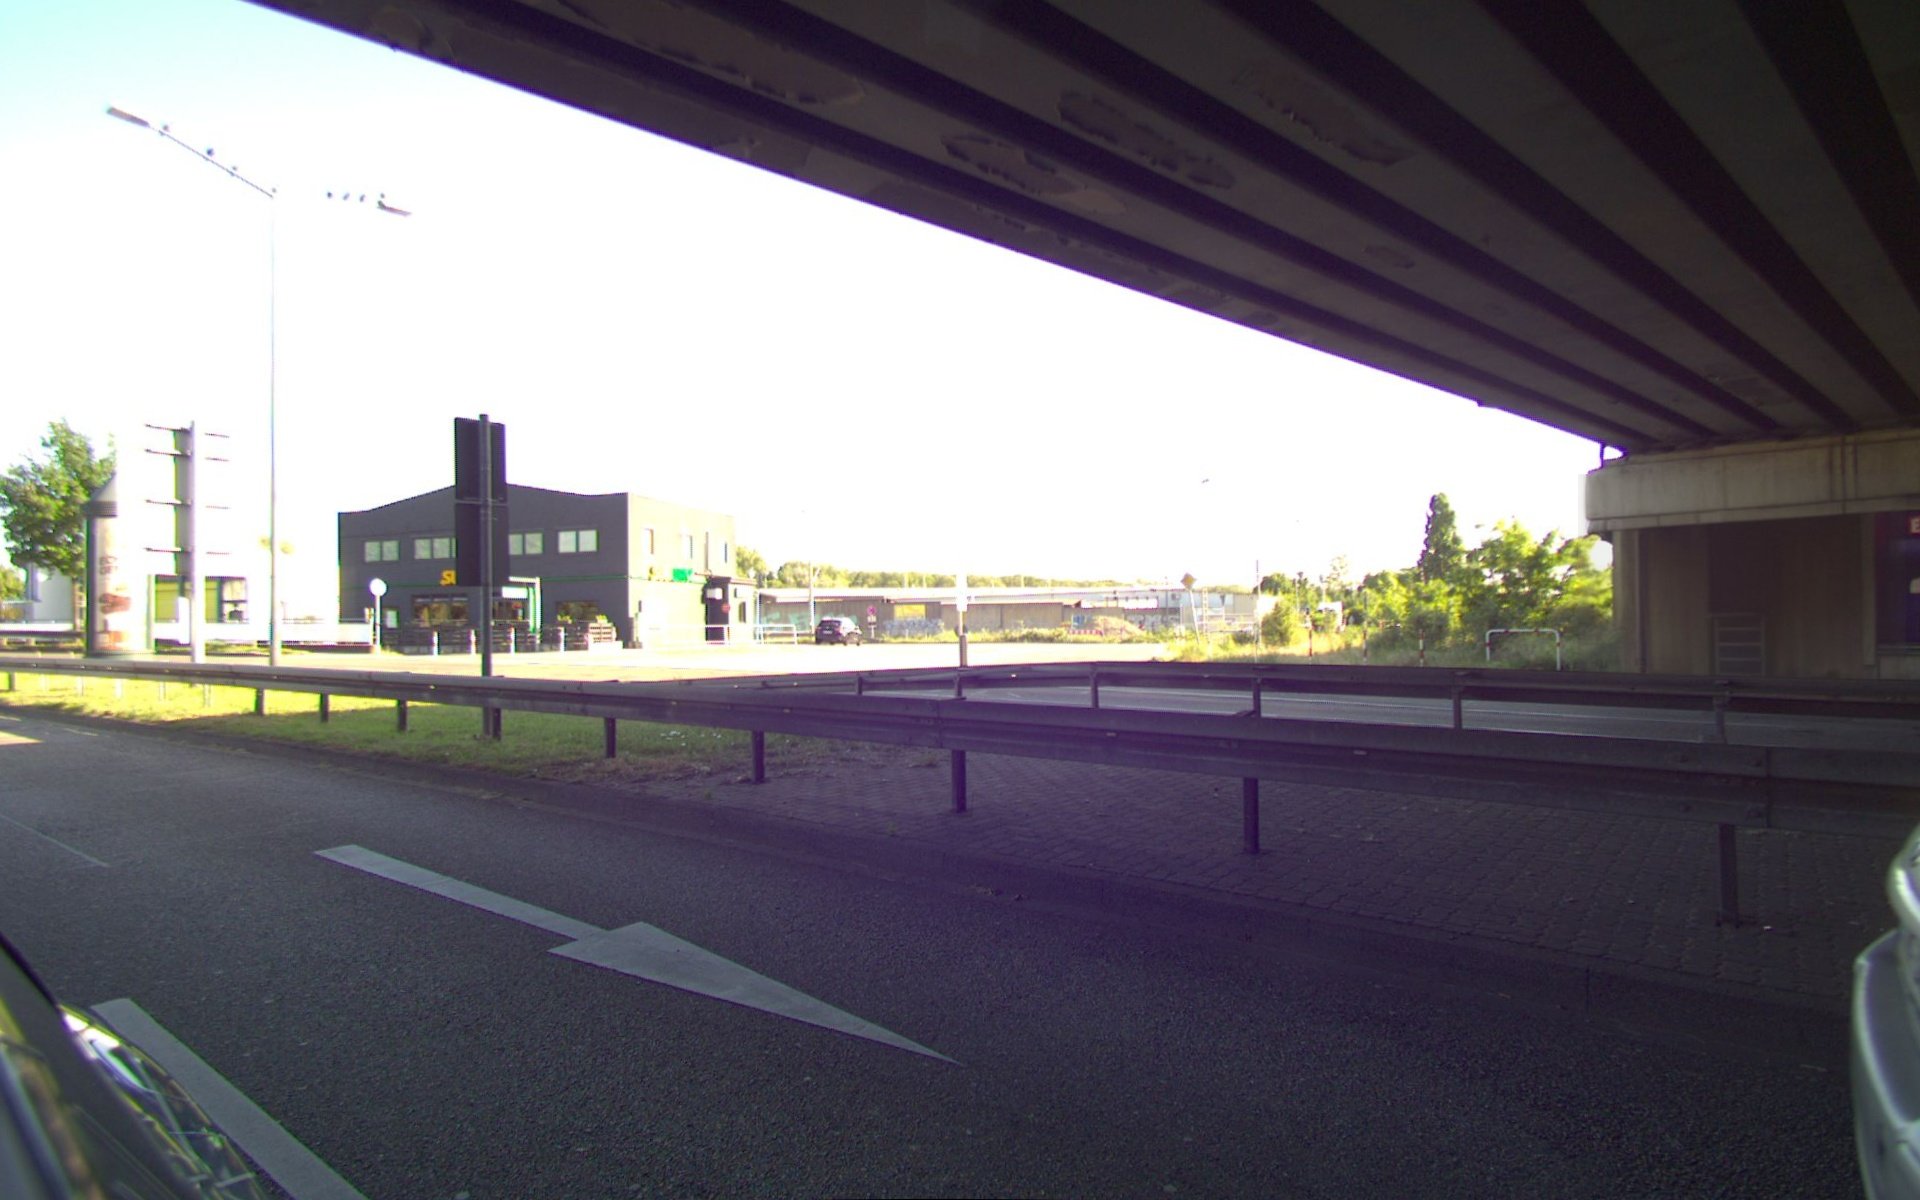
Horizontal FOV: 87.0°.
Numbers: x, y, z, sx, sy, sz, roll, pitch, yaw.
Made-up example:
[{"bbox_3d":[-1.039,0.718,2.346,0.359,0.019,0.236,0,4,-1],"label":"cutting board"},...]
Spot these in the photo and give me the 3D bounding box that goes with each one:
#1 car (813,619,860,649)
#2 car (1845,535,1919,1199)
[{"bbox_3d":[-6.678,1.814,54.970,1.858,1.453,3.996,-1,0,3],"label":"car"},{"bbox_3d":[3.363,0.601,0.428,4.393,1.466,1.680,-2,-1,39],"label":"car"}]
